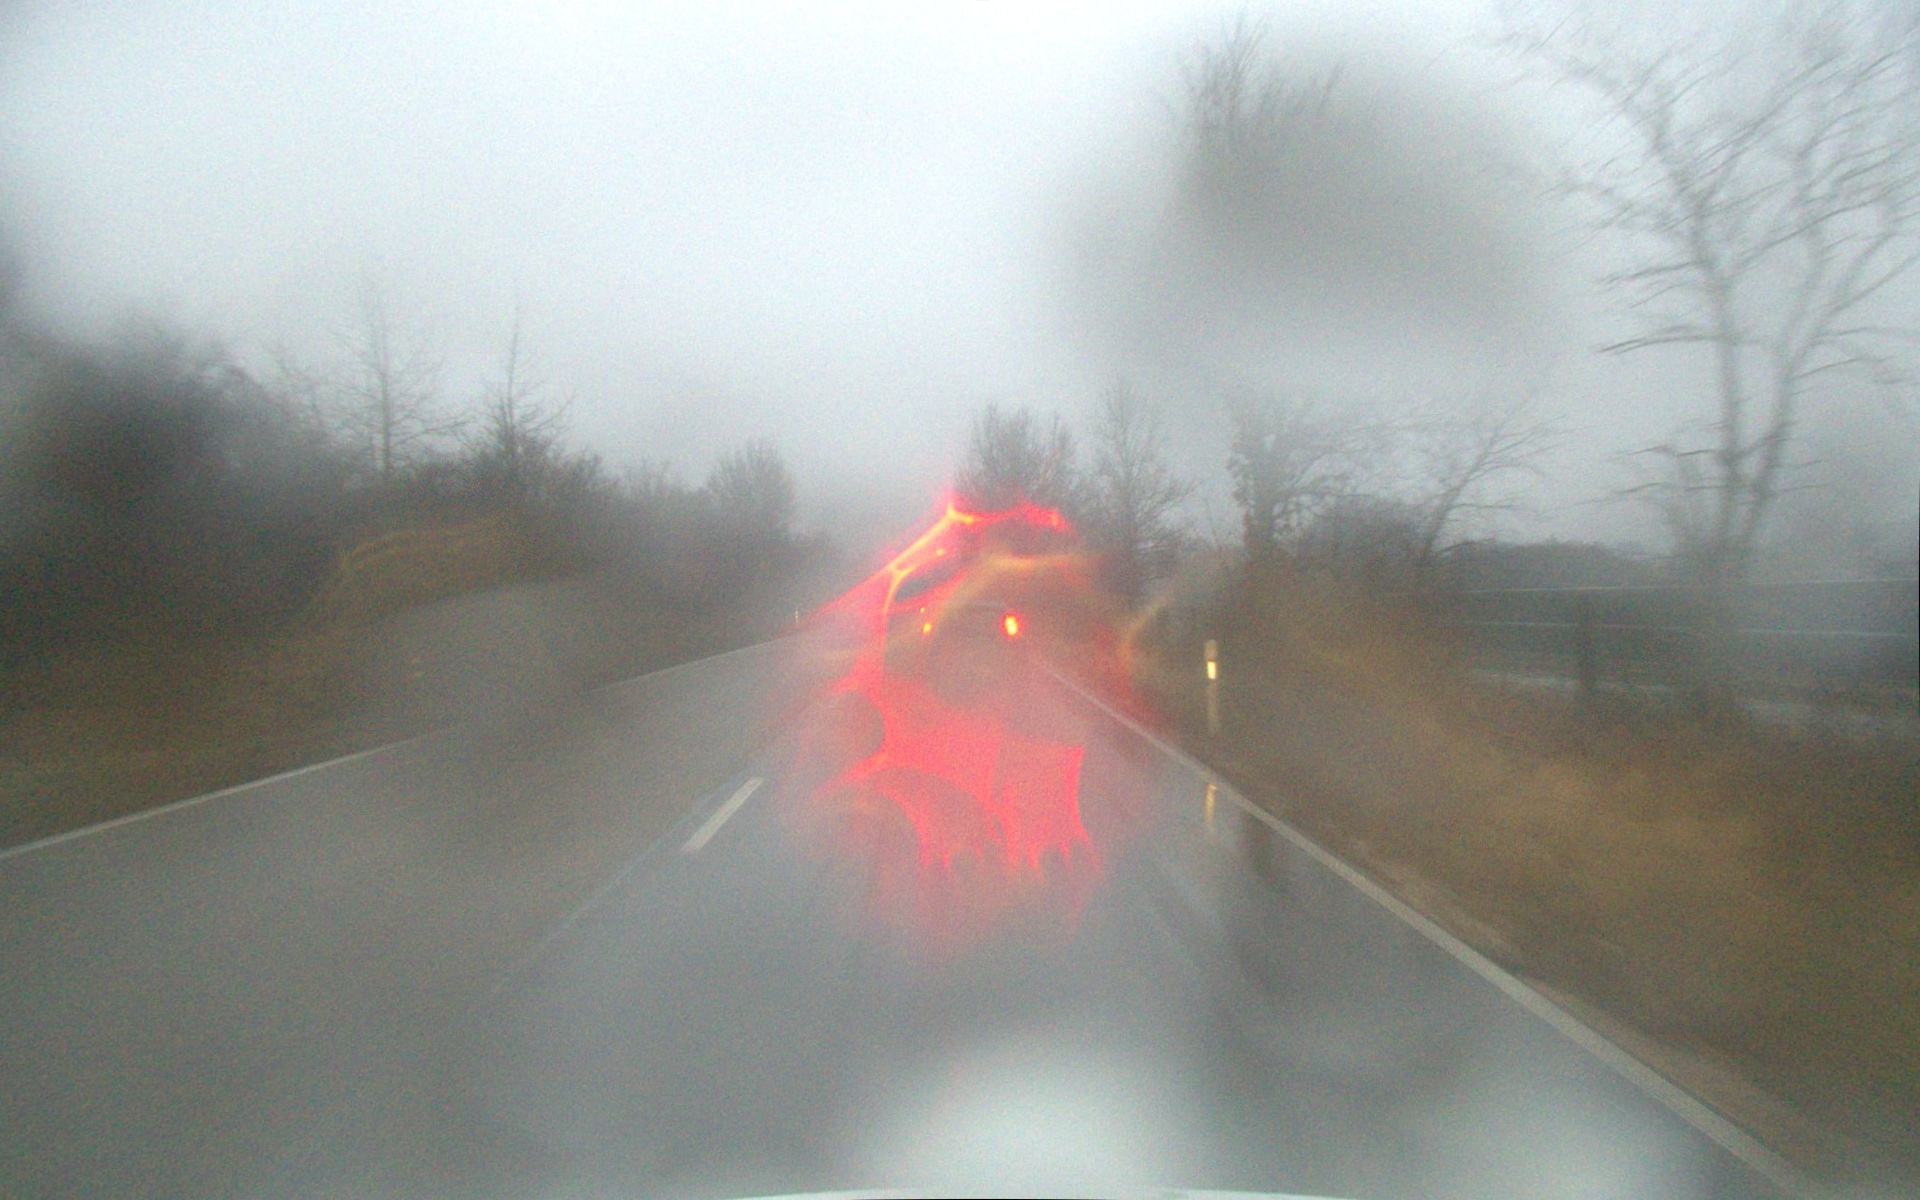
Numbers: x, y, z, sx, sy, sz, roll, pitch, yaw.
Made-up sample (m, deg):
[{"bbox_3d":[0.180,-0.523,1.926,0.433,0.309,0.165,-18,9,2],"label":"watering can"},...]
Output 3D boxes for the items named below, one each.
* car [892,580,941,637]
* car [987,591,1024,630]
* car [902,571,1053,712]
[{"bbox_3d":[-1.502,0.290,58.480,1.542,1.907,3.709,1,0,1],"label":"car"},{"bbox_3d":[1.991,0.453,72.127,1.531,1.619,3.489,1,0,2],"label":"car"},{"bbox_3d":[0.259,0.530,23.689,1.952,1.816,4.000,1,0,1],"label":"car"}]
